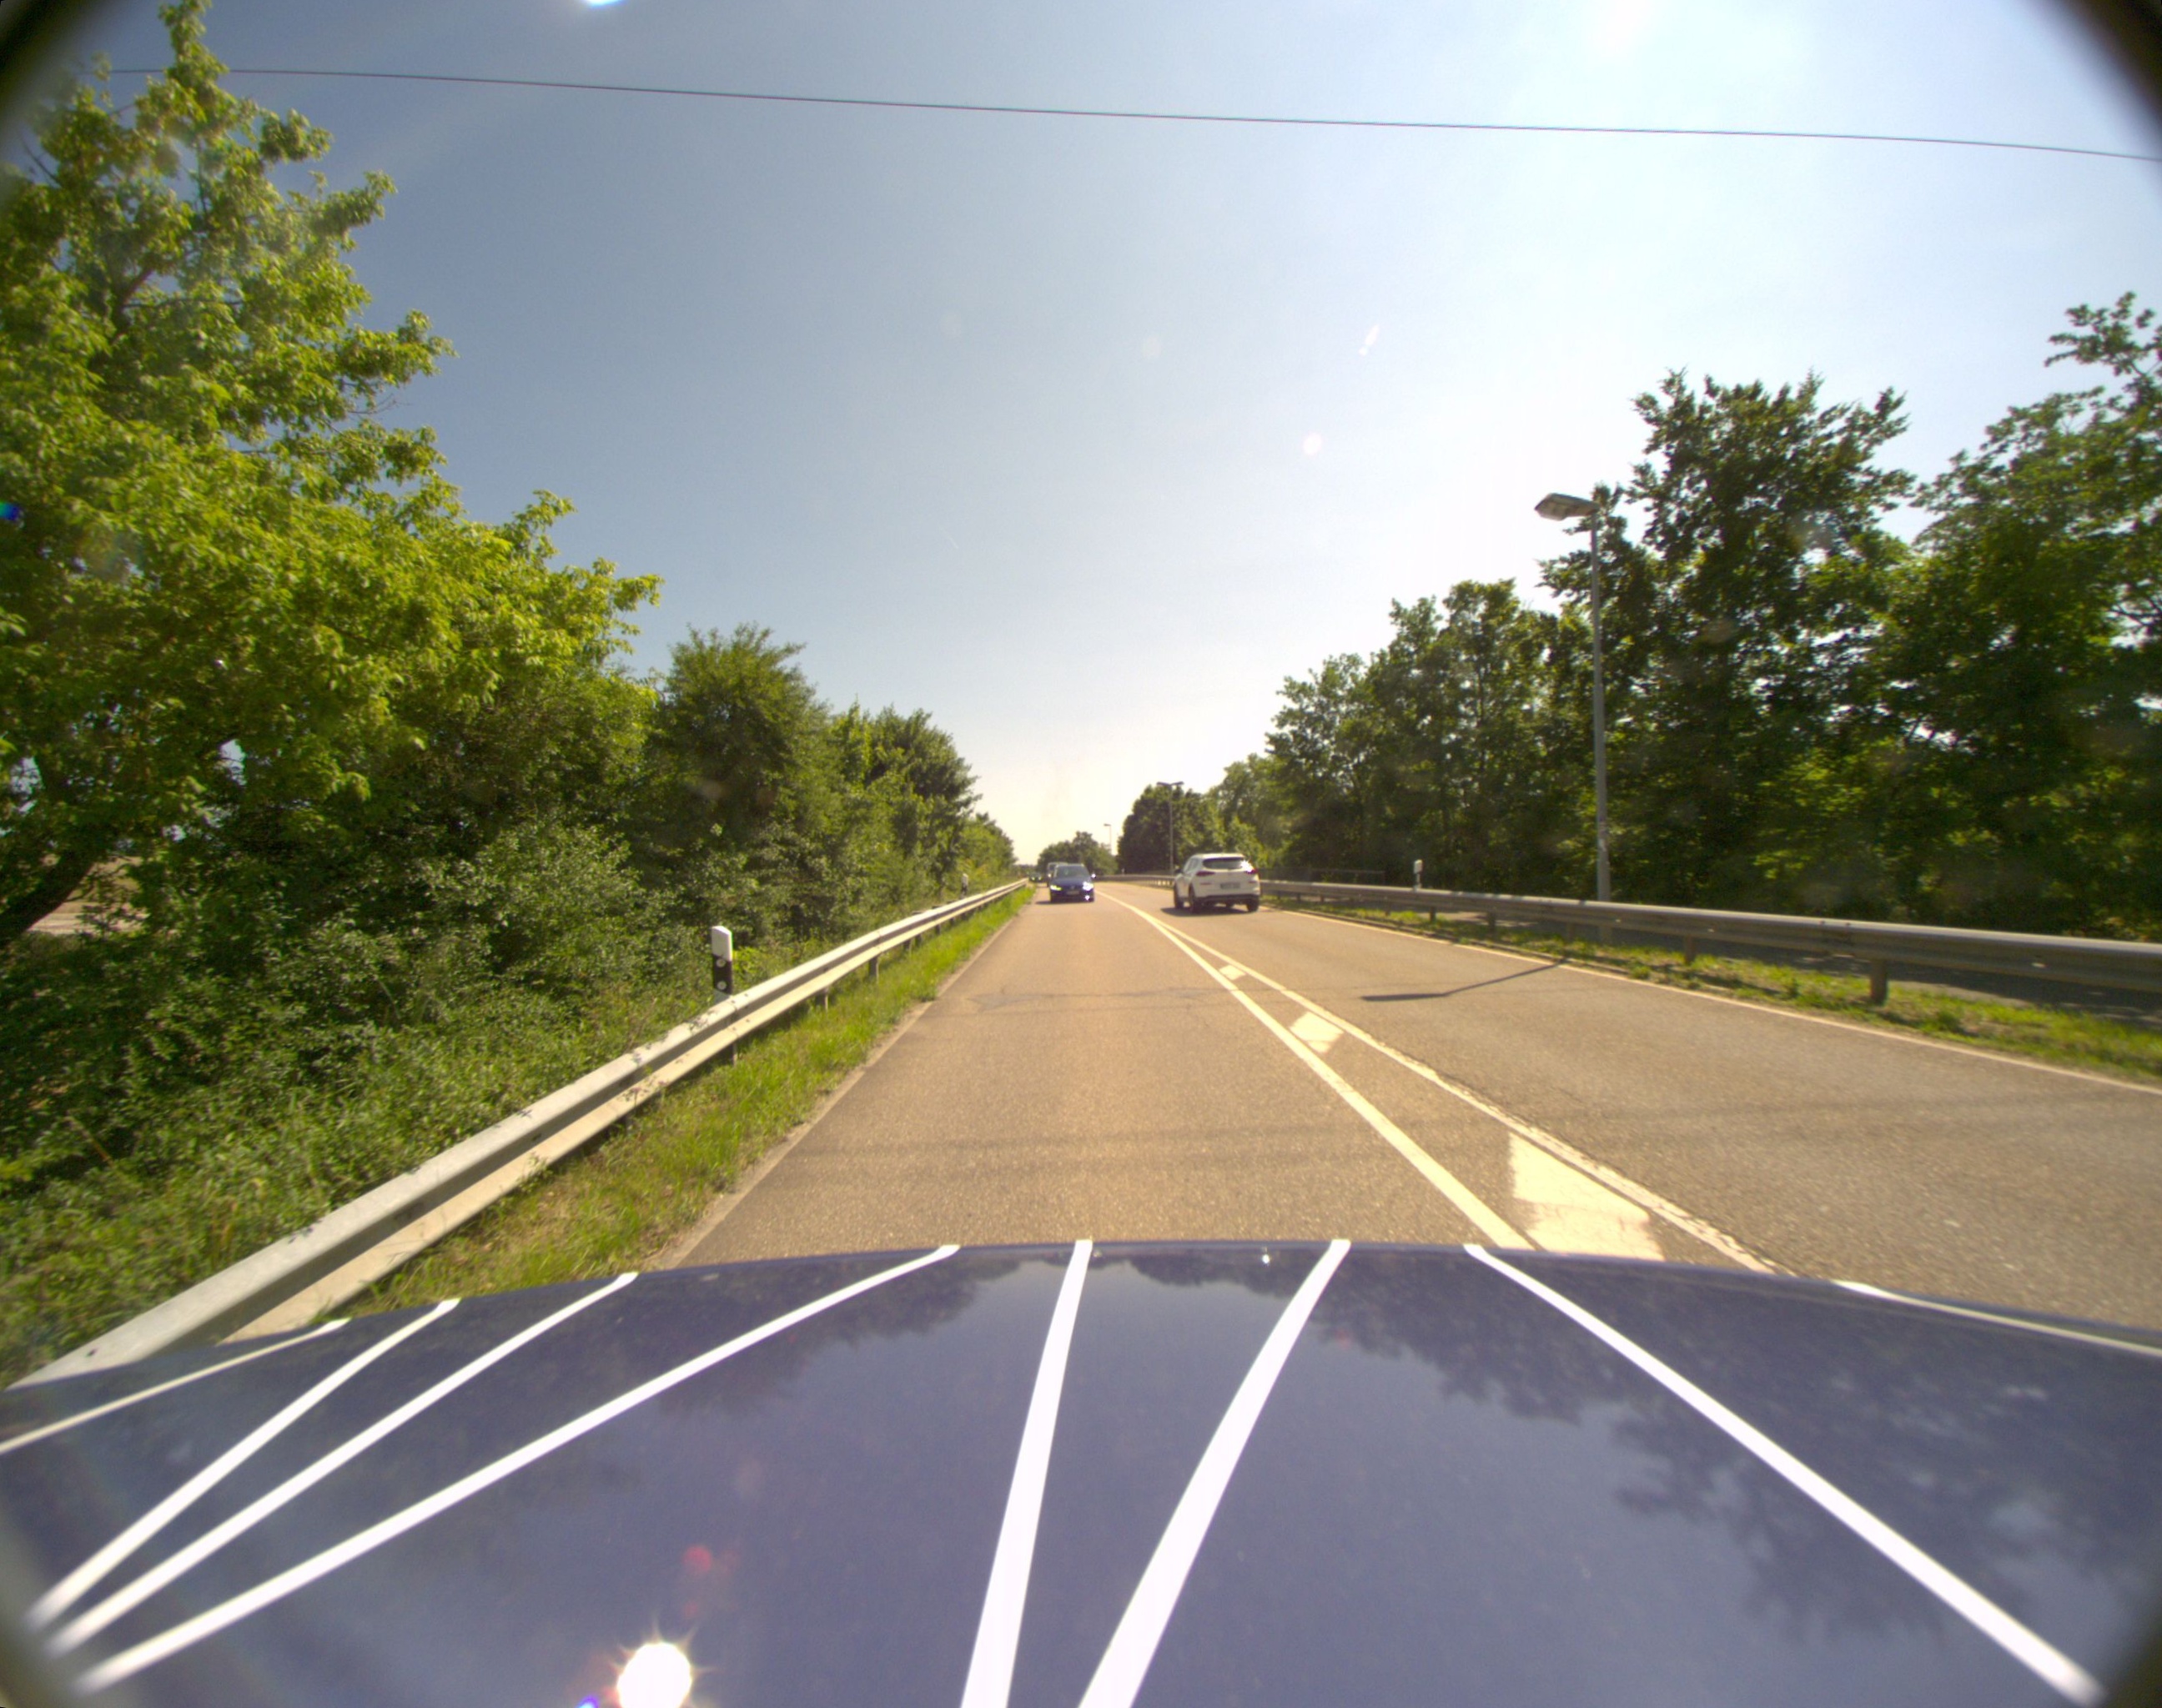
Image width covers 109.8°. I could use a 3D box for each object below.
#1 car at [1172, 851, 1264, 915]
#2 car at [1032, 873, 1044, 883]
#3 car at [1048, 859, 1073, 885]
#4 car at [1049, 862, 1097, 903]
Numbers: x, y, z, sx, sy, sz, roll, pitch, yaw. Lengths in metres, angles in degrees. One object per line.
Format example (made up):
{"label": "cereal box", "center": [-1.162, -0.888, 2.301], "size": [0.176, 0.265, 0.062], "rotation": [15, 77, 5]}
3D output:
{"label": "car", "center": [3.908, 0.791, 22.397], "size": [1.829, 1.630, 4.140], "rotation": [-2, 0, -1]}
{"label": "car", "center": [-6.727, 3.763, 117.470], "size": [1.765, 1.529, 3.684], "rotation": [-1, -1, -5]}
{"label": "car", "center": [-1.690, 1.463, 62.186], "size": [1.765, 1.953, 4.261], "rotation": [-3, -1, -4]}
{"label": "car", "center": [-0.414, 1.160, 32.025], "size": [1.765, 1.519, 4.422], "rotation": [-3, -1, -3]}
